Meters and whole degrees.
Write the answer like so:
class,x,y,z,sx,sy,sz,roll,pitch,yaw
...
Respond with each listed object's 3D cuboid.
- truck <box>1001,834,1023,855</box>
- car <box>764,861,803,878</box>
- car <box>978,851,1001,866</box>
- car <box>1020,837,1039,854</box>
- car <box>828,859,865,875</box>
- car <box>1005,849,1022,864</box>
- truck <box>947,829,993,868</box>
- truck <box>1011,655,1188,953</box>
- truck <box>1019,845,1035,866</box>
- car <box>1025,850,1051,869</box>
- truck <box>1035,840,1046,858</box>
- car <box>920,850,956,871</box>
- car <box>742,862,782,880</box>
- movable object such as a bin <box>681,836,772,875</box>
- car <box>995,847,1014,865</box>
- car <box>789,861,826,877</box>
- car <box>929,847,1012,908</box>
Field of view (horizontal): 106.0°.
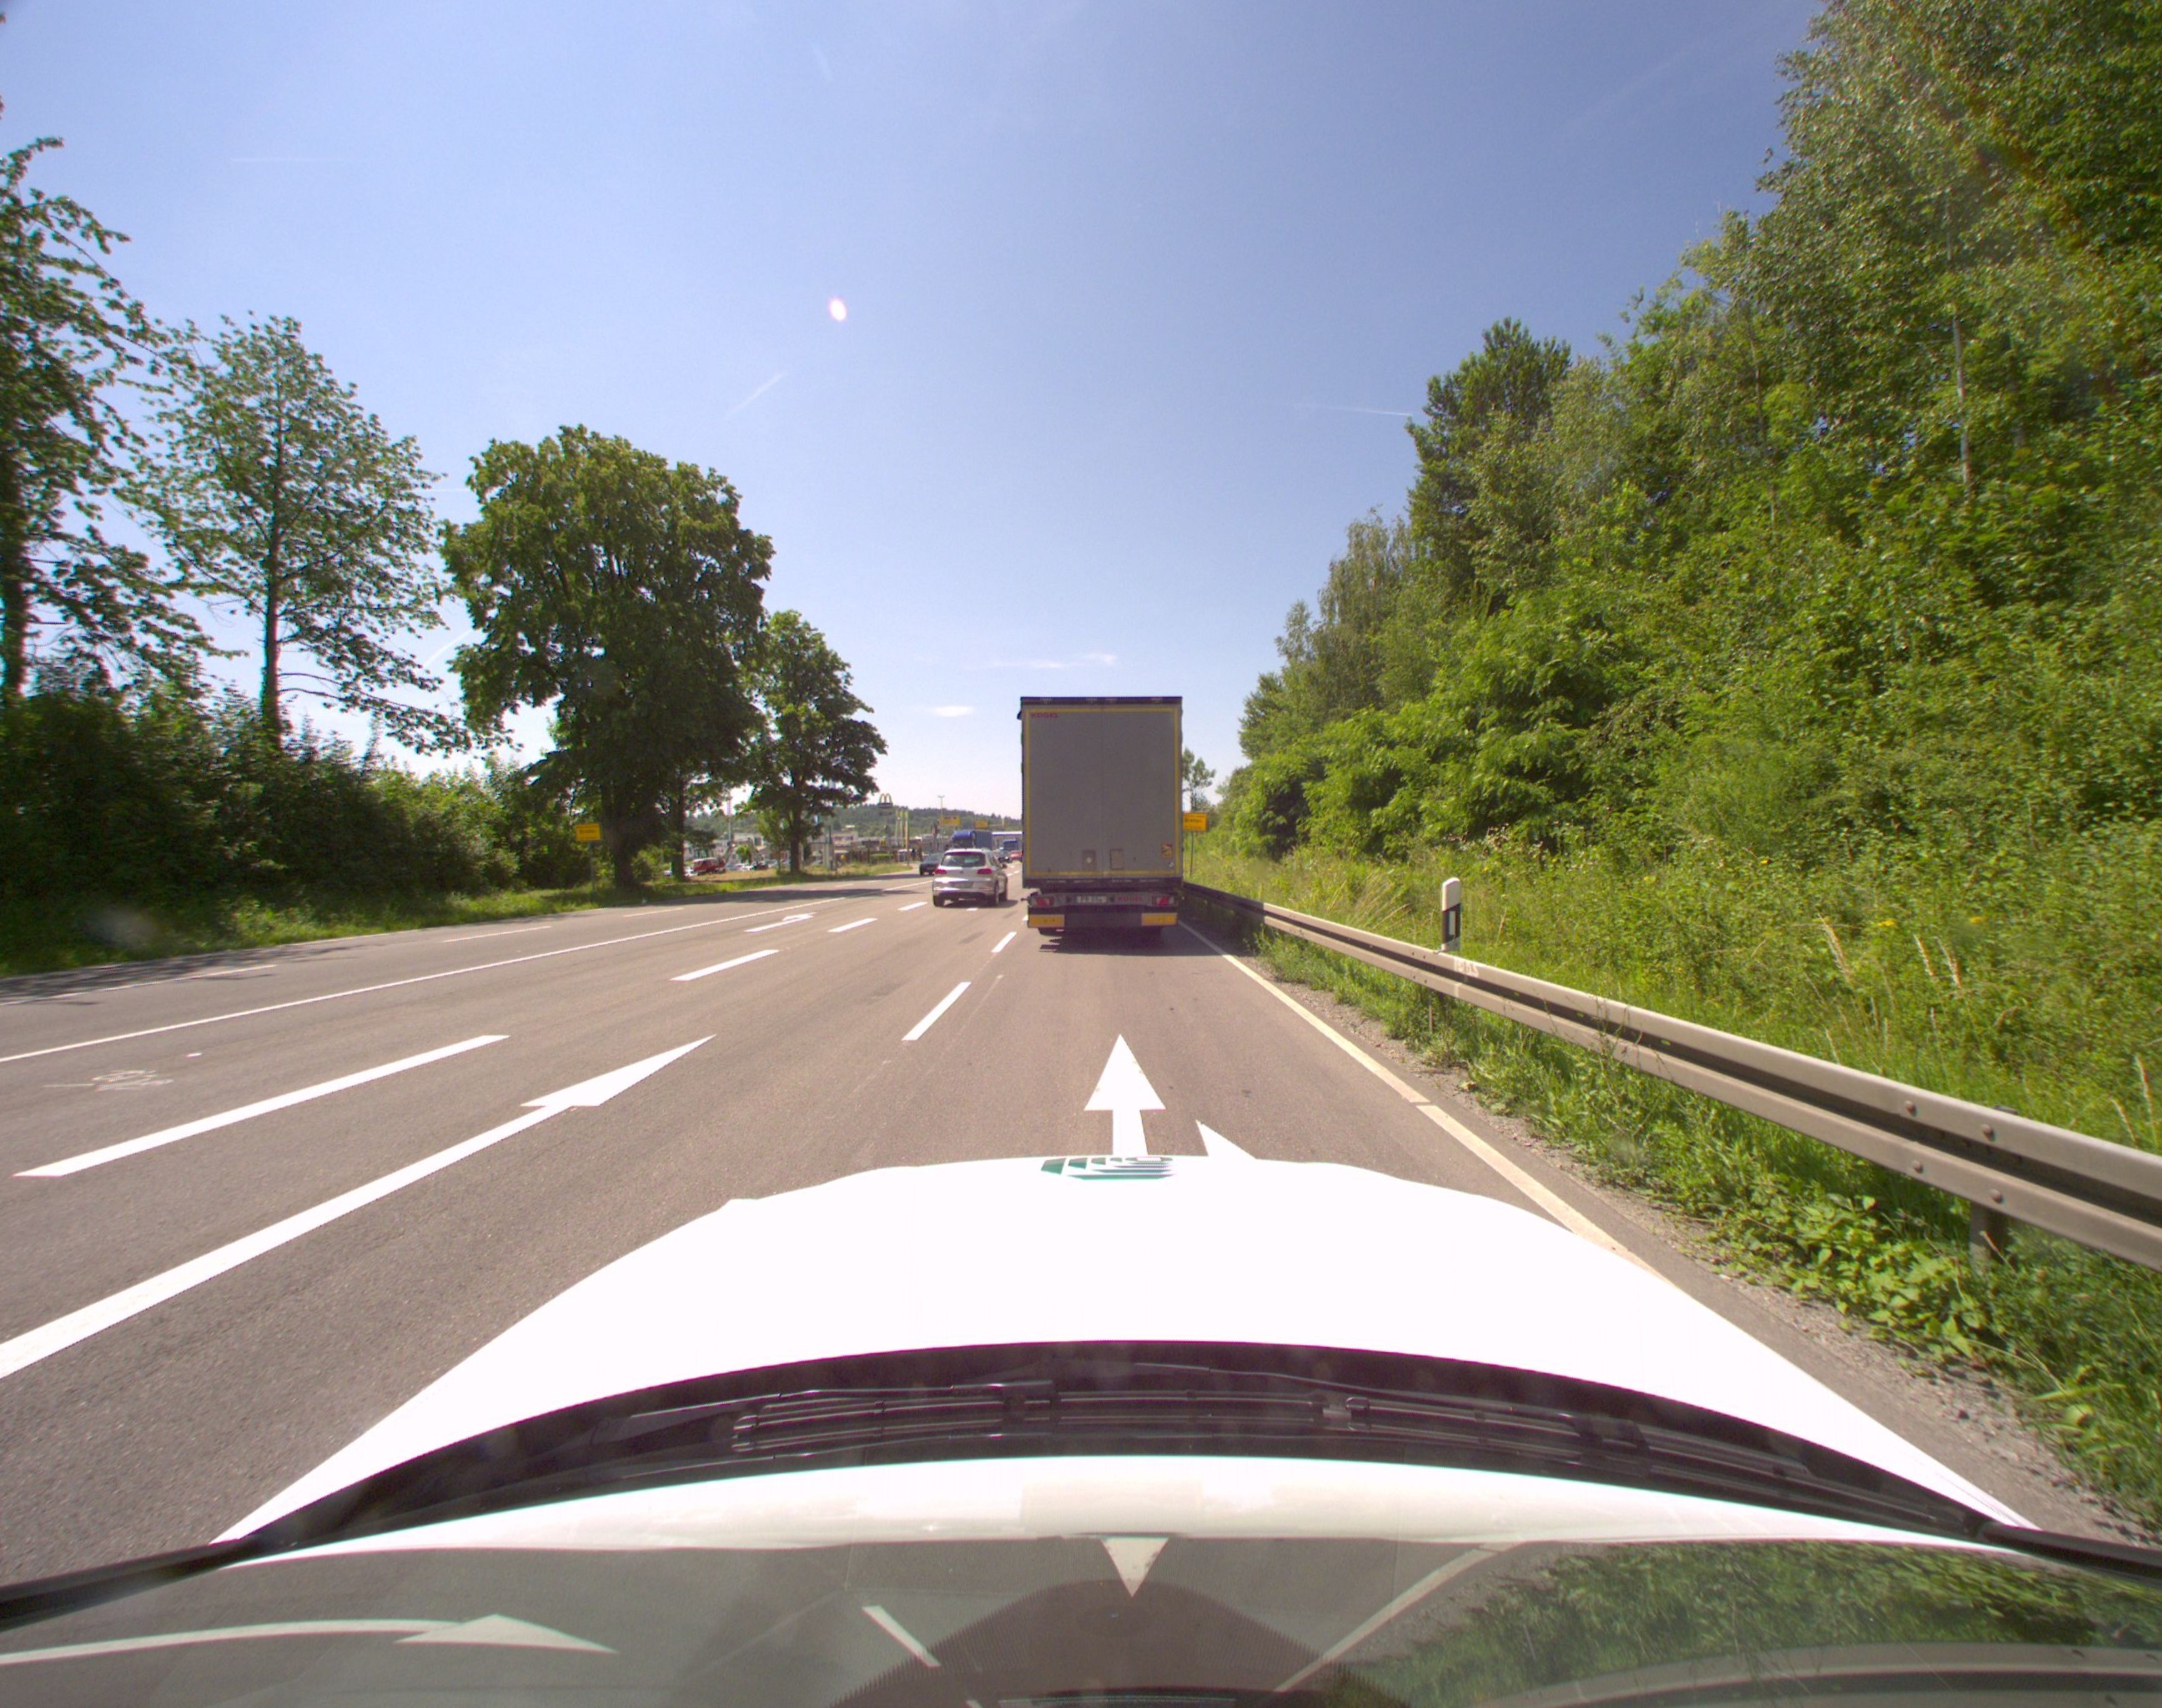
class,x,y,z,sx,sy,sz,roll,pitch,yaw
truck,-11.868,-1.556,141.173,2.837,3.351,11.480,-1,0,0
car,-30.273,1.574,82.863,3.948,1.618,1.852,-1,0,38
car,-9.431,0.484,83.868,1.634,1.438,4.021,-1,0,4
car,-6.278,-0.998,99.838,1.986,2.014,4.001,0,-1,2
car,-24.904,1.394,86.386,3.948,1.618,1.852,-1,0,38
car,-9.136,0.285,110.711,1.766,2.013,4.002,-1,0,2
truck,-13.064,-0.658,97.601,2.958,4.176,16.576,-1,0,1
truck,0.565,-0.697,21.038,2.745,4.639,16.661,0,-1,2
truck,-11.795,0.275,176.435,3.140,4.349,17.513,-1,0,-4
car,-3.354,0.429,63.969,1.680,1.398,4.404,-1,0,1
truck,-10.488,-1.196,210.997,2.534,4.627,10.815,0,-1,-4
car,-9.842,0.468,56.151,1.761,1.386,3.999,0,-1,0
car,-31.702,1.685,80.914,3.948,1.651,2.013,-1,0,38
movable object such as a bin,-31.907,0.107,73.556,3.013,3.298,6.834,-1,0,41
car,-9.173,0.253,97.921,1.766,2.013,4.002,-1,0,2
car,-28.601,1.529,85.096,3.948,1.618,1.852,-1,0,38
car,-3.239,0.644,24.728,1.798,1.670,4.293,0,0,2
